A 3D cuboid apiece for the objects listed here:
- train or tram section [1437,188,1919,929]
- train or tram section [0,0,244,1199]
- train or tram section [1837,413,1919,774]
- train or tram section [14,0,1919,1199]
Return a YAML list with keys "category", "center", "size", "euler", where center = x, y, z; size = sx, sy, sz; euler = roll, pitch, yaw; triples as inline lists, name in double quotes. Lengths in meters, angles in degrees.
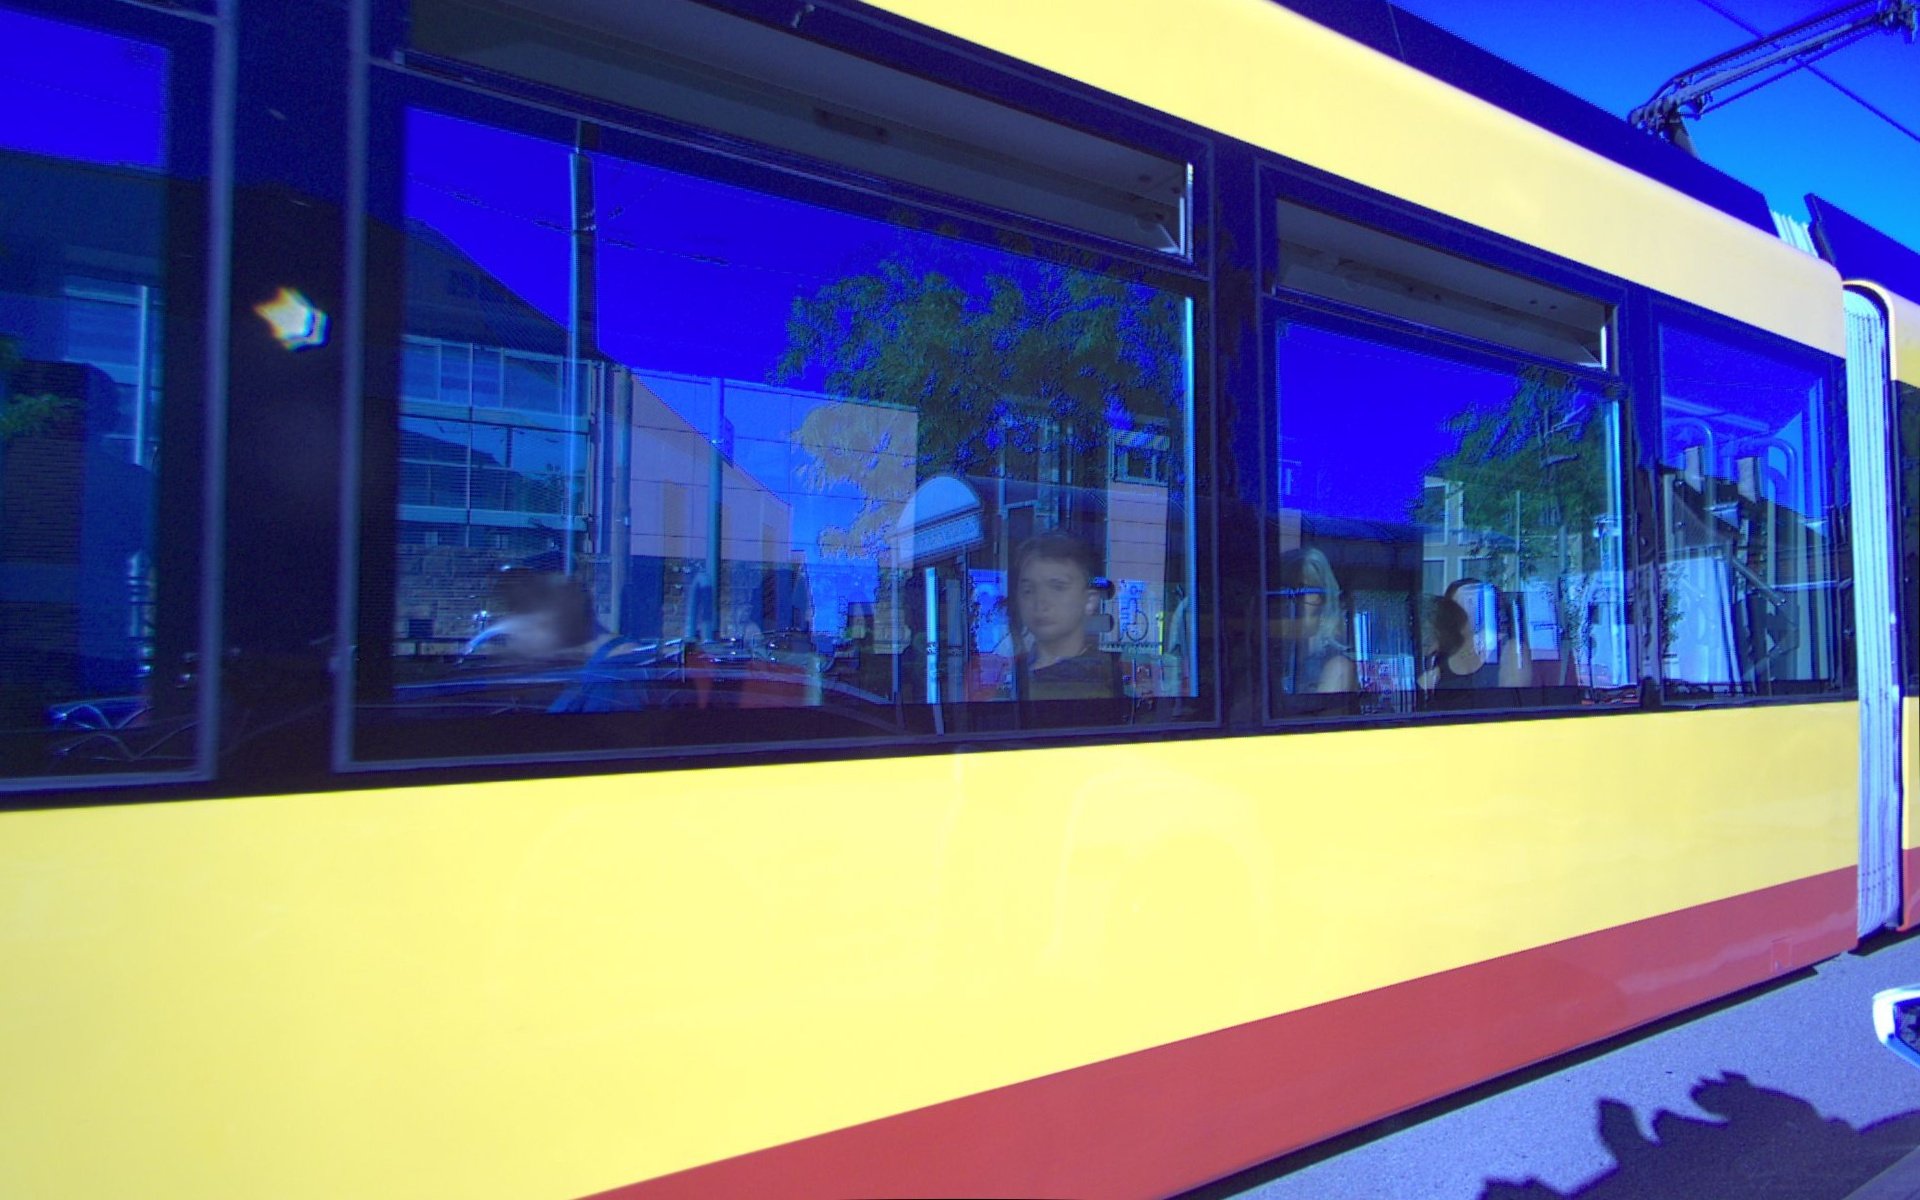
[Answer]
- category: "train or tram section"
  center: [6.839, -0.134, 7.377]
  size: [6.590, 3.506, 2.790]
  euler: [1, 0, -30]
- category: "train or tram section"
  center: [-4.659, -0.403, 0.577]
  size: [6.590, 3.506, 2.790]
  euler: [1, 0, -30]
- category: "train or tram section"
  center: [12.534, 0.006, 10.747]
  size: [6.590, 3.506, 2.790]
  euler: [1, 0, -30]
- category: "train or tram section"
  center: [1.129, -0.285, 4.000]
  size: [6.590, 3.506, 2.790]
  euler: [1, 0, -30]
